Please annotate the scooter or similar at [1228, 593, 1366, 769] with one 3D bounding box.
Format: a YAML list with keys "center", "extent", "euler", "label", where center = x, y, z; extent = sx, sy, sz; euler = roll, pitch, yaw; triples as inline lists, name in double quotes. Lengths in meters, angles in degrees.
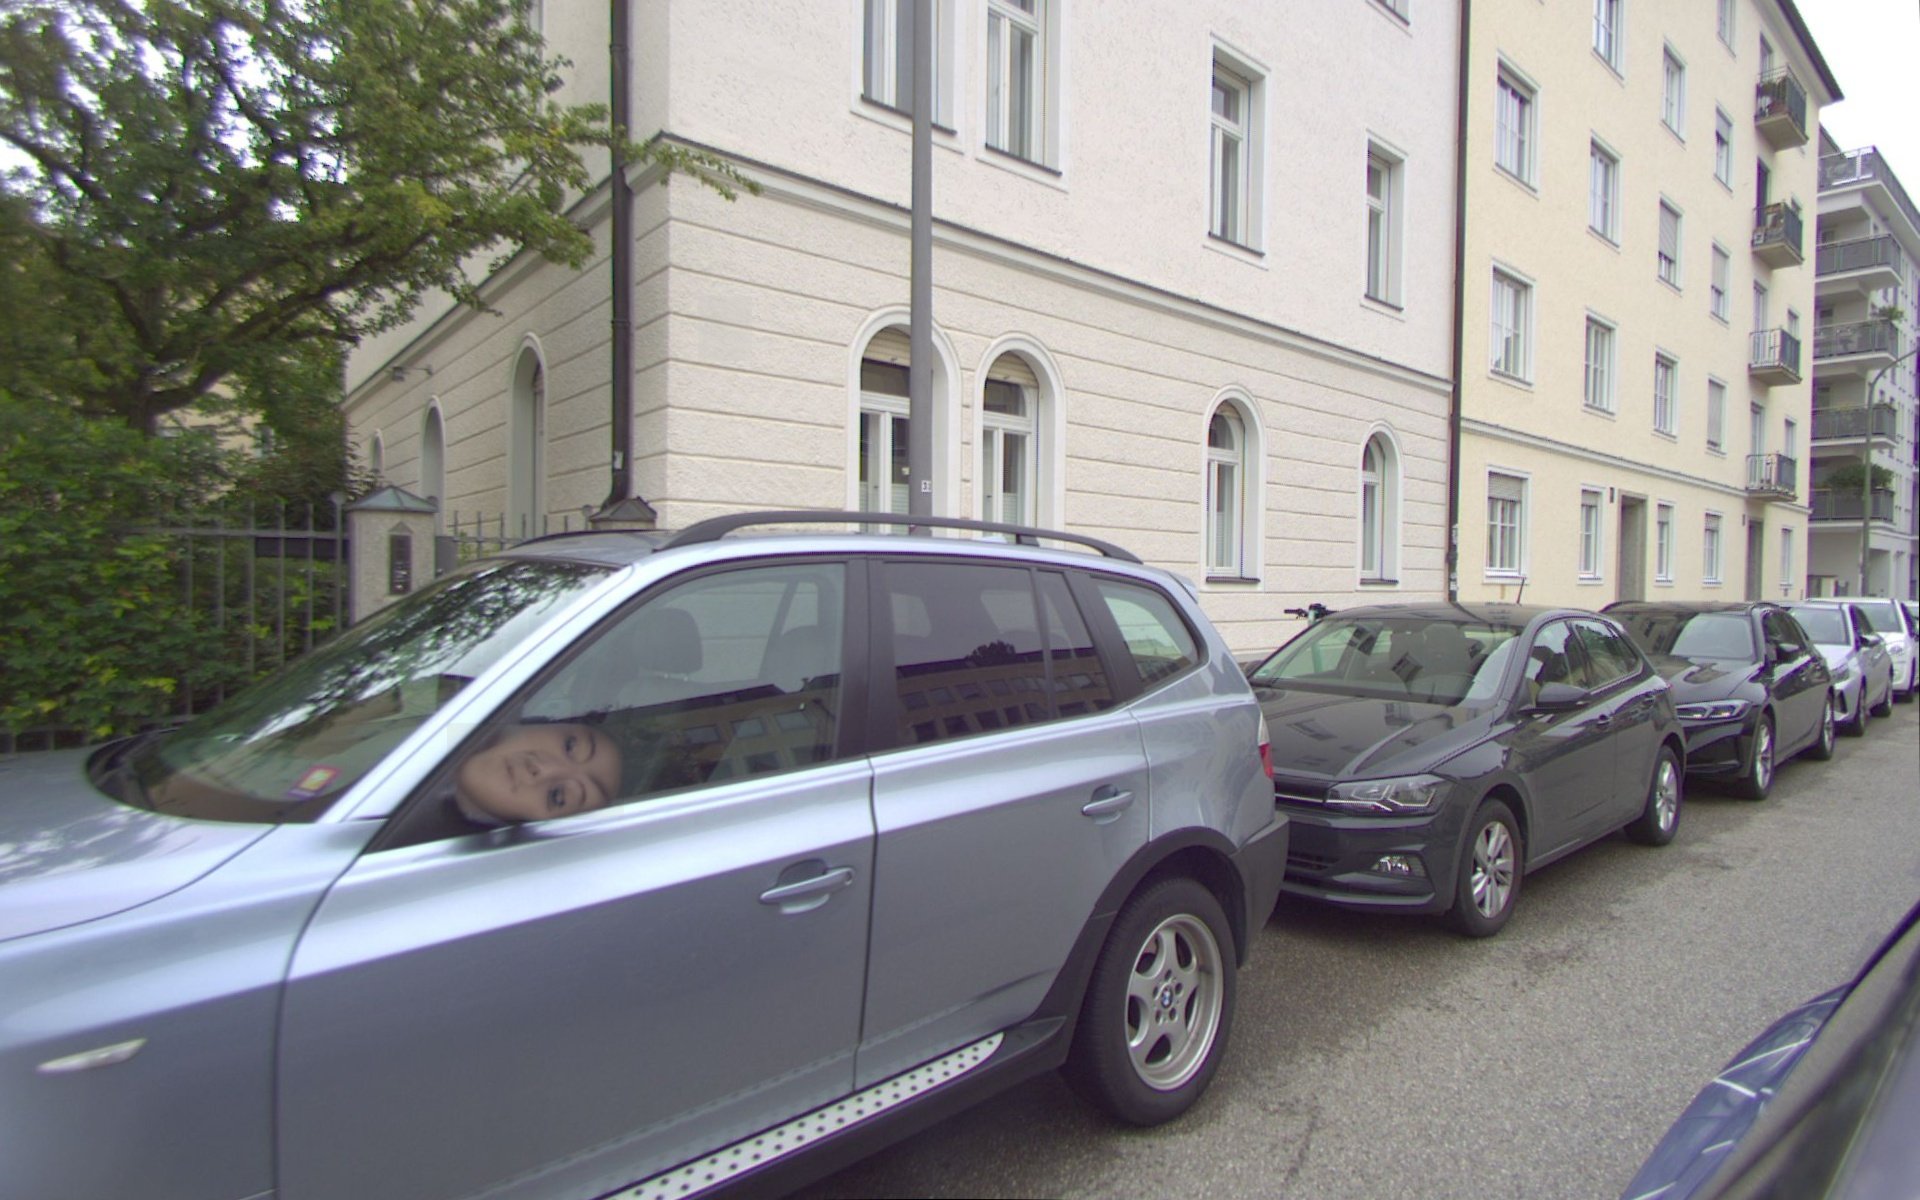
- center: [2.502, 0.549, 7.470]
  extent: [1.153, 1.178, 0.485]
  euler: [-1, 1, -43]
  label: "scooter or similar"

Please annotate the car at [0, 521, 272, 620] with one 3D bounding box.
- center: [-14.881, -0.563, 18.150]
  extent: [1.754, 1.533, 4.230]
  euler: [2, 2, 11]
  label: "car"

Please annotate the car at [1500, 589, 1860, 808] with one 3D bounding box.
- center: [6.491, 0.646, 8.920]
  extent: [4.316, 1.445, 1.681]
  euler: [-1, 2, -42]
  label: "car"

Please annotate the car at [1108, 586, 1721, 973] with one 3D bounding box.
- center: [2.810, 0.656, 5.802]
  extent: [4.016, 1.445, 1.682]
  euler: [-1, 2, -41]
  label: "car"

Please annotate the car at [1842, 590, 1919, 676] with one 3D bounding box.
- center: [17.812, 0.550, 18.726]
  extent: [4.366, 1.427, 1.682]
  euler: [-1, 2, -41]
  label: "car"

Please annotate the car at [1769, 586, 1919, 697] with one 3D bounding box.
- center: [14.217, 0.550, 15.921]
  extent: [4.096, 1.500, 1.682]
  euler: [-1, 2, -42]
  label: "car"

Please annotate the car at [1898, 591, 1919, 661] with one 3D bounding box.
- center: [21.926, 0.544, 22.097]
  extent: [4.345, 1.427, 1.682]
  euler: [-1, 2, -41]
  label: "car"

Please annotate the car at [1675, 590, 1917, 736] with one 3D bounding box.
- center: [10.261, 0.624, 12.315]
  extent: [4.096, 1.445, 1.682]
  euler: [-1, 2, -42]
  label: "car"

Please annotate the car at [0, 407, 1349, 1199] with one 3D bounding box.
- center: [-0.940, 0.568, 2.533]
  extent: [4.380, 1.654, 1.725]
  euler: [-1, 2, -41]
  label: "car"
